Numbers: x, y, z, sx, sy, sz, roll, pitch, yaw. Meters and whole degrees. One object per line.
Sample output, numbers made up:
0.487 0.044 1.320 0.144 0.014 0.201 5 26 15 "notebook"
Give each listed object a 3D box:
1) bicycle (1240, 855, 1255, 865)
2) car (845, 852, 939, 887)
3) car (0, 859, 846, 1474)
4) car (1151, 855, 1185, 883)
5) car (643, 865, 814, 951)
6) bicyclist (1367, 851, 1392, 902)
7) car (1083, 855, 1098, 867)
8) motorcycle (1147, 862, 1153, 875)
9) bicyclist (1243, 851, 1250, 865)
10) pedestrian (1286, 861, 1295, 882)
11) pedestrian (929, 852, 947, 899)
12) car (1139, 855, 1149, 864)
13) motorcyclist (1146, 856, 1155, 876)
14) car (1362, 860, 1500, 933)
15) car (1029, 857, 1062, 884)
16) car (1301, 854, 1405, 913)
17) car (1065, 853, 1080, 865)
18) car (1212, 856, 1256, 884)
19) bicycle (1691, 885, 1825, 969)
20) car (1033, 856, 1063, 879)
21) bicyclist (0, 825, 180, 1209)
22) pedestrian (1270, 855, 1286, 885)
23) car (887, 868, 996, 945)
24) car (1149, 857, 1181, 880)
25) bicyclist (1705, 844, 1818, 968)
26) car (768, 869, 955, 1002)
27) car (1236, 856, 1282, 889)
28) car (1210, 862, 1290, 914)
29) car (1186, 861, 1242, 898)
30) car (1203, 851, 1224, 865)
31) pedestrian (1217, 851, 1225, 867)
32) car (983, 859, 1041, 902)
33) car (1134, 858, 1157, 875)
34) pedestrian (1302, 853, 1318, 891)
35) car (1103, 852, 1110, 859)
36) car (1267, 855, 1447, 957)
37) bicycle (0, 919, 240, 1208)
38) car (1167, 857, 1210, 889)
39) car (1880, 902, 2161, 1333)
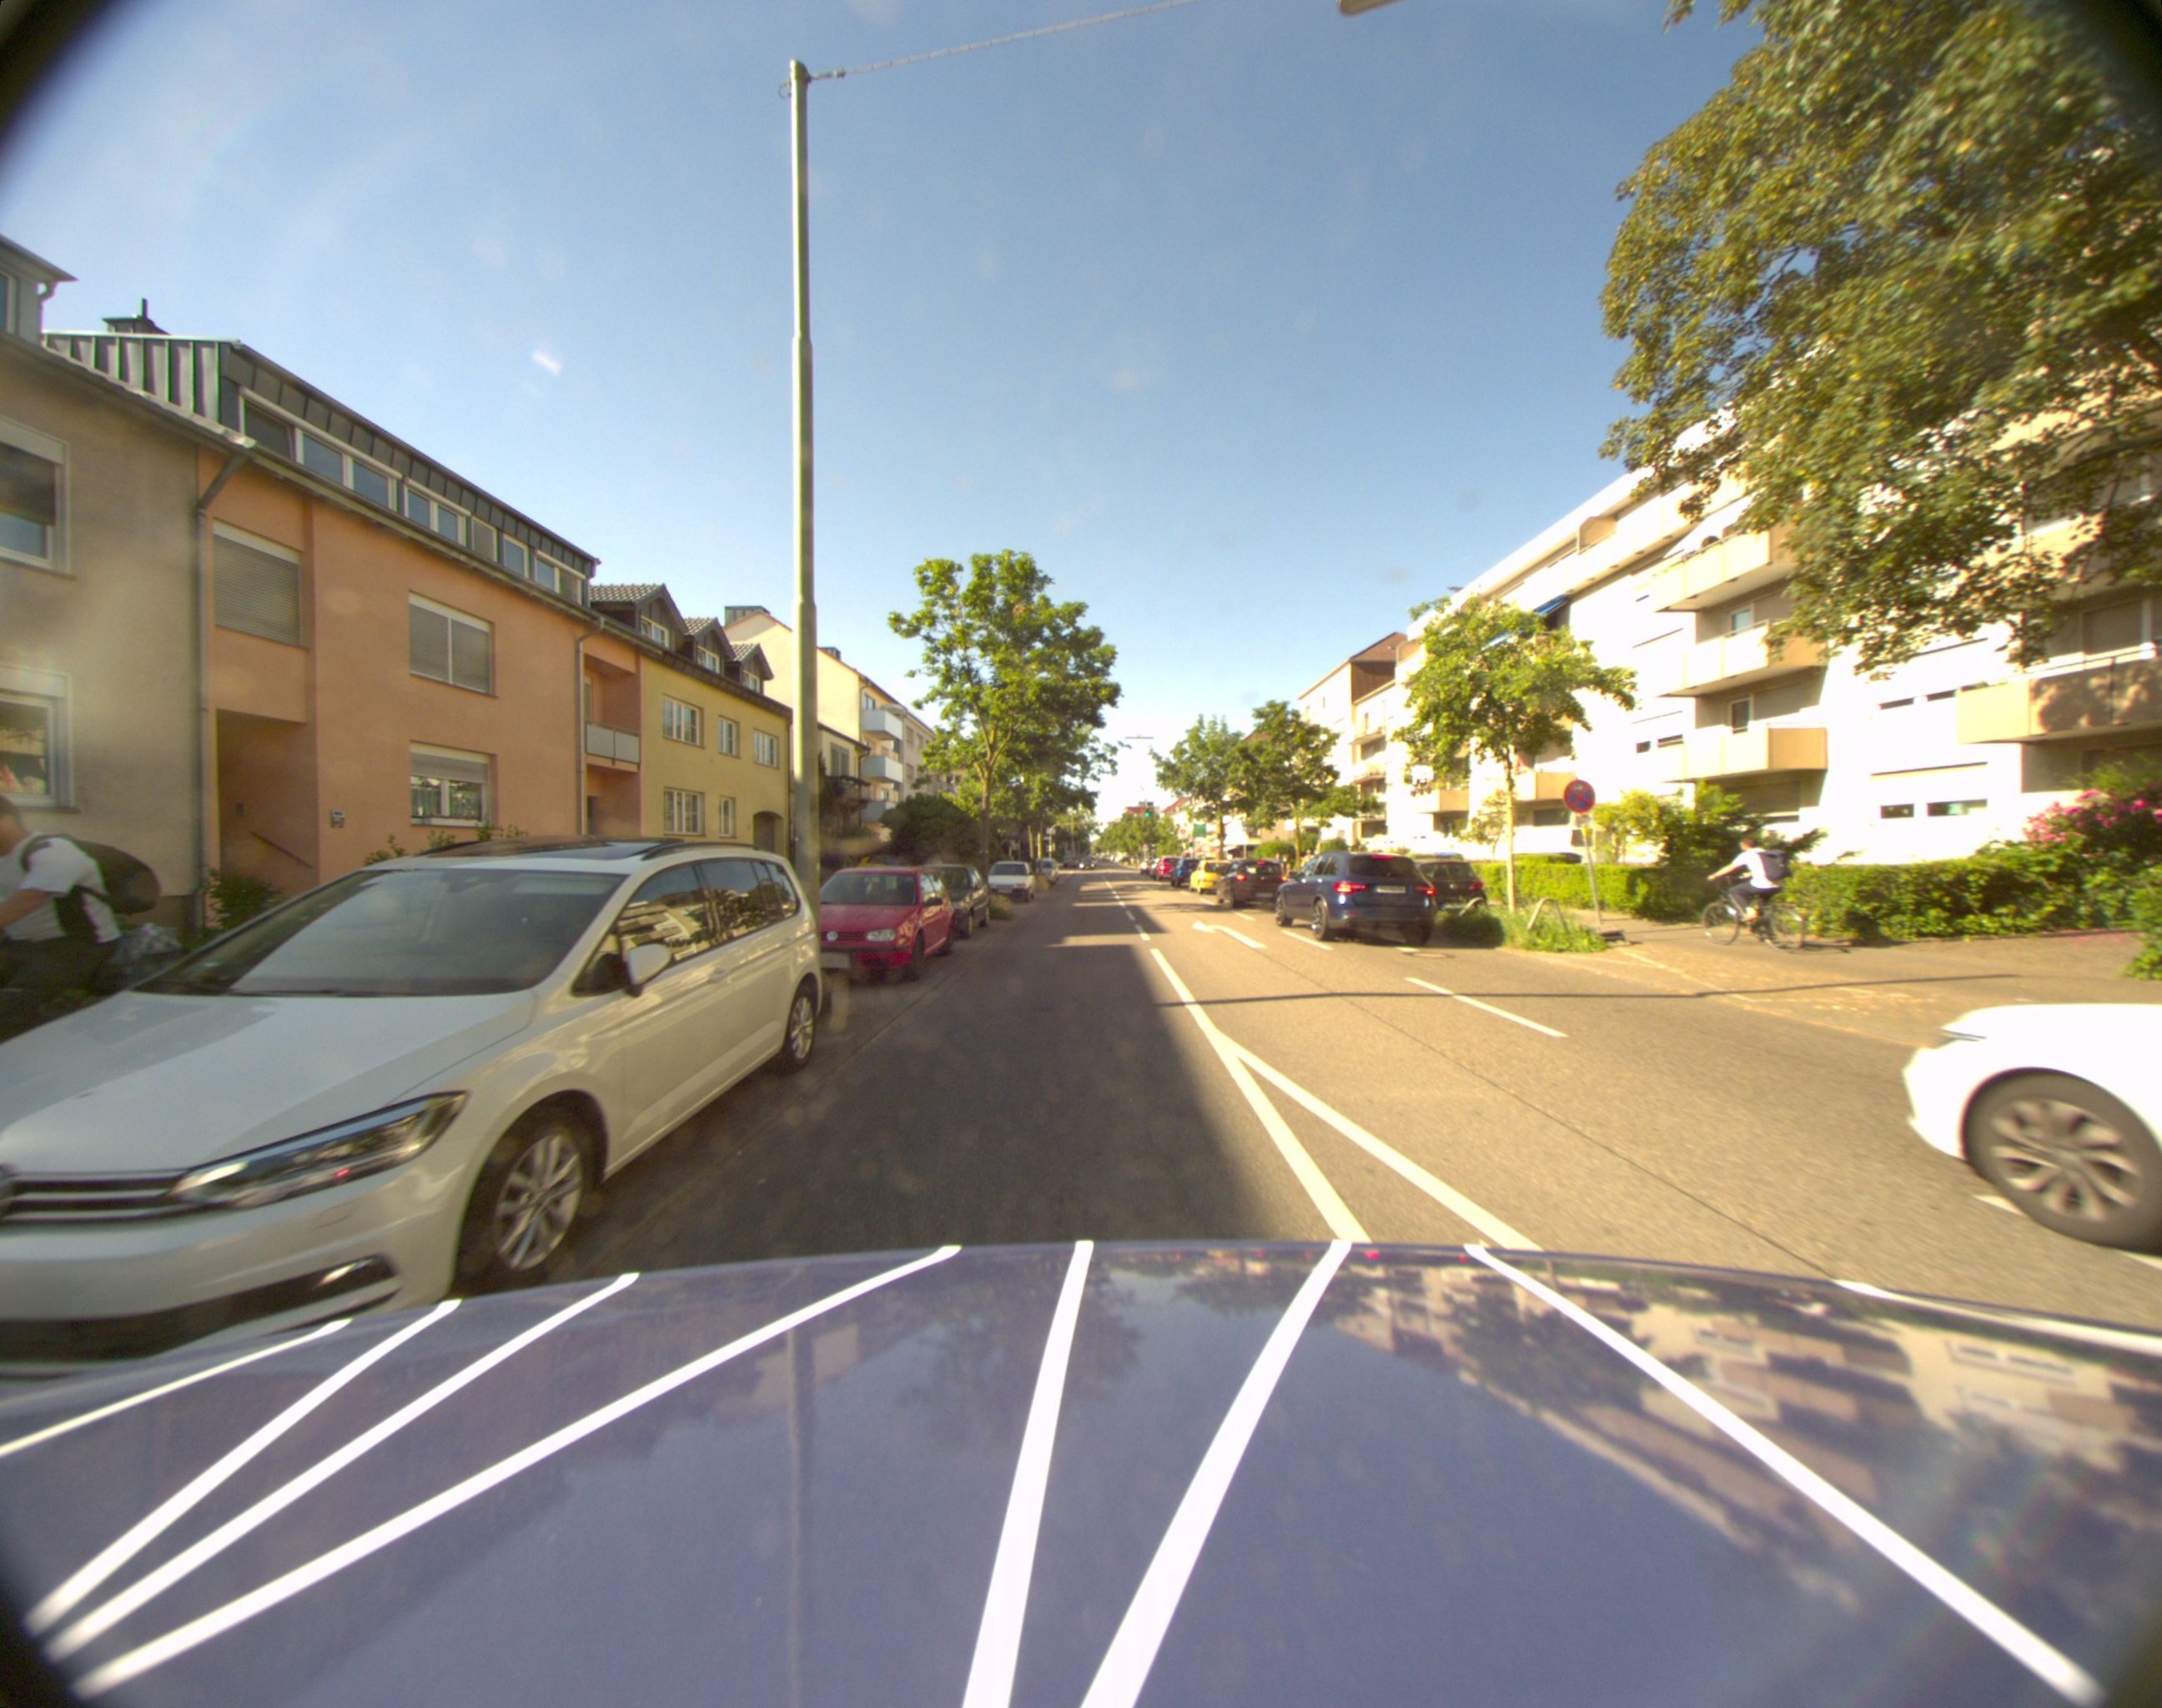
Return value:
18.253 0.703 83.346 1.565 1.070 0.449 0 1 -1 "bicycle"
-9.073 0.738 36.739 3.997 1.432 1.831 3 0 1 "car"
-2.851 0.875 4.244 1.773 1.649 4.340 1 0 -1 "car"
5.512 0.936 48.373 1.726 1.607 4.300 2 0 2 "car"
-6.655 0.941 14.794 1.535 1.348 3.718 2 0 1 "car"
10.369 0.781 26.385 0.610 1.744 0.691 0 1 1 "bicyclist"
1.115 0.852 89.605 1.654 1.348 4.304 0 0 1 "car"
6.025 1.275 66.205 0.449 1.115 1.933 2 0 5 "motorcycle"
18.143 0.444 83.325 0.685 1.598 0.578 0 1 -1 "bicyclist"
11.867 0.971 42.982 0.335 1.153 0.490 -1 0 0 "pedestrian"
-5.134 0.778 27.247 0.539 1.667 0.493 1 1 1 "pedestrian"
9.325 0.785 113.251 1.322 1.348 3.093 0 0 1 "car"
6.050 1.050 66.234 0.730 1.637 0.918 2 1 6 "motorcyclist"
8.174 0.925 18.140 1.605 1.468 3.932 -1 0 3 "car"
-2.042 0.945 44.327 1.570 1.448 3.866 1 0 3 "car"
8.220 0.836 23.346 1.674 1.596 4.394 -1 0 1 "car"
-1.156 0.642 104.522 1.822 1.541 4.304 0 0 1 "car"
8.347 0.841 41.710 1.508 1.467 3.895 -1 0 -2 "car"
10.327 1.070 11.673 0.450 1.109 1.765 -2 0 0 "bicycle"
-2.229 0.891 52.236 1.743 1.473 4.196 1 0 1 "car"
-5.353 0.746 3.686 0.726 1.783 1.015 1 0 1 "bicyclist"
11.226 0.885 43.287 0.671 1.677 0.929 -1 0 0 "pedestrian"
-2.773 0.993 15.790 1.535 1.348 3.718 0 0 1 "car"
6.020 1.021 54.981 1.818 1.456 4.778 2 0 1 "car"
10.313 0.751 11.566 0.584 1.756 1.208 -2 0 0 "bicyclist"
-2.799 0.964 10.499 1.536 1.441 3.717 0 0 0 "car"
8.398 0.828 36.039 1.404 1.480 3.686 -1 0 2 "car"
5.183 0.996 23.767 1.585 1.443 3.744 1 0 -1 "car"
5.543 1.025 32.003 1.639 1.395 3.735 1 0 -1 "car"
15.702 0.437 90.070 1.764 1.613 4.304 0 0 1 "car"
14.189 0.520 77.118 0.659 1.649 0.682 0 1 2 "pedestrian"
-2.435 0.910 27.700 1.653 1.395 3.970 1 0 1 "car"
5.849 1.115 69.698 1.702 1.398 4.506 2 0 0 "car"
10.087 0.781 33.536 0.470 1.641 0.719 -1 1 1 "pedestrian"
7.158 0.279 212.865 1.965 1.910 5.496 0 0 1 "car"
5.062 0.860 14.670 1.841 1.604 4.400 2 0 0 "car"
-5.383 1.023 3.613 0.699 1.239 1.822 2 0 1 "bicycle"
5.511 0.947 39.515 1.660 1.508 4.076 2 0 1 "car"
4.538 0.950 1.382 1.737 1.404 4.192 2 0 1 "car"
